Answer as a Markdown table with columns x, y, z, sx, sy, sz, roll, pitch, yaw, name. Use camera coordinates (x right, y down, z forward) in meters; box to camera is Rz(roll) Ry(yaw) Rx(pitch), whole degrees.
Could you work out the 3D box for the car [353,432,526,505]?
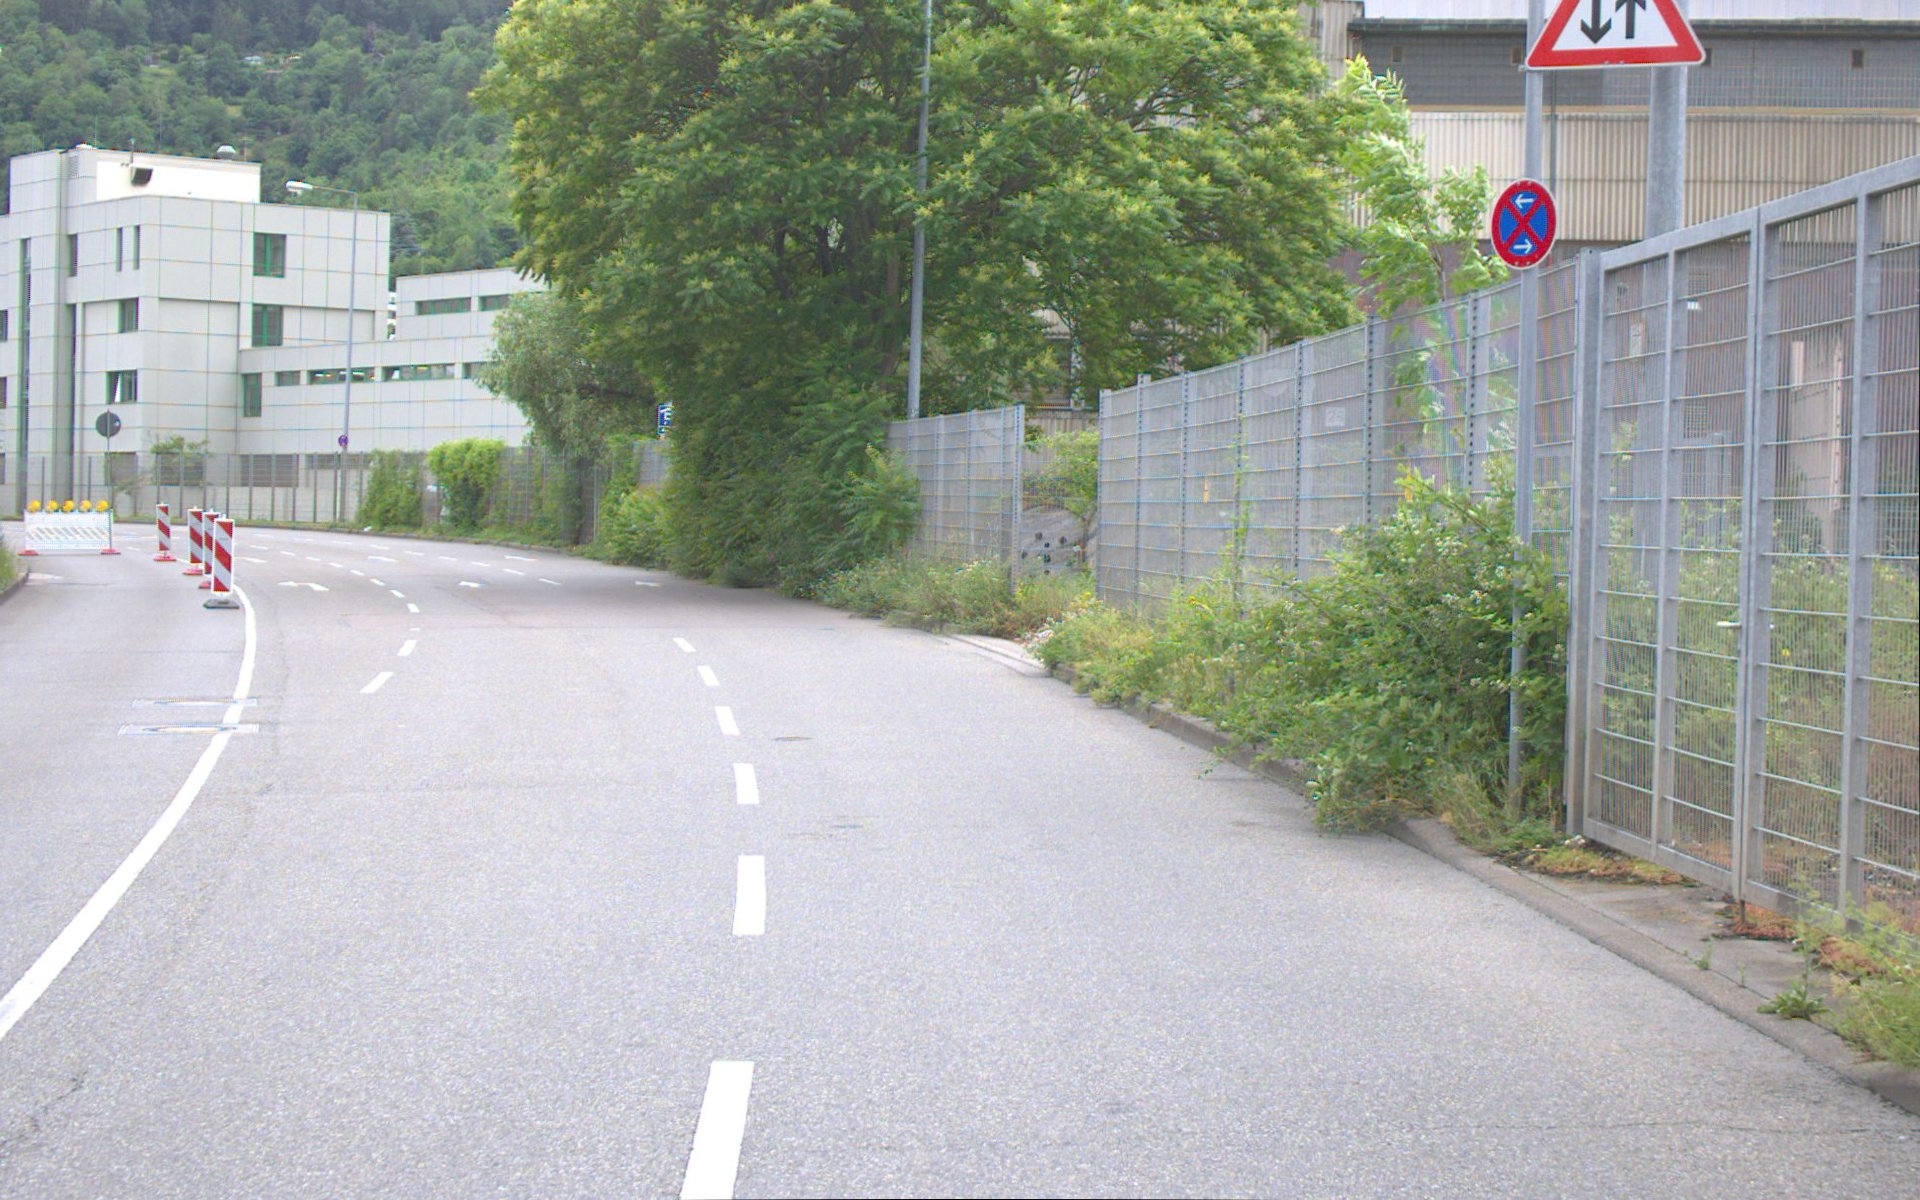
| x | y | z | sx | sy | sz | roll | pitch | yaw | name |
| --- | --- | --- | --- | --- | --- | --- | --- | --- | --- |
| -18.287 | -4.611 | 120.597 | 6.162 | 2.255 | 1.996 | 4 | 2 | 33 | car |
